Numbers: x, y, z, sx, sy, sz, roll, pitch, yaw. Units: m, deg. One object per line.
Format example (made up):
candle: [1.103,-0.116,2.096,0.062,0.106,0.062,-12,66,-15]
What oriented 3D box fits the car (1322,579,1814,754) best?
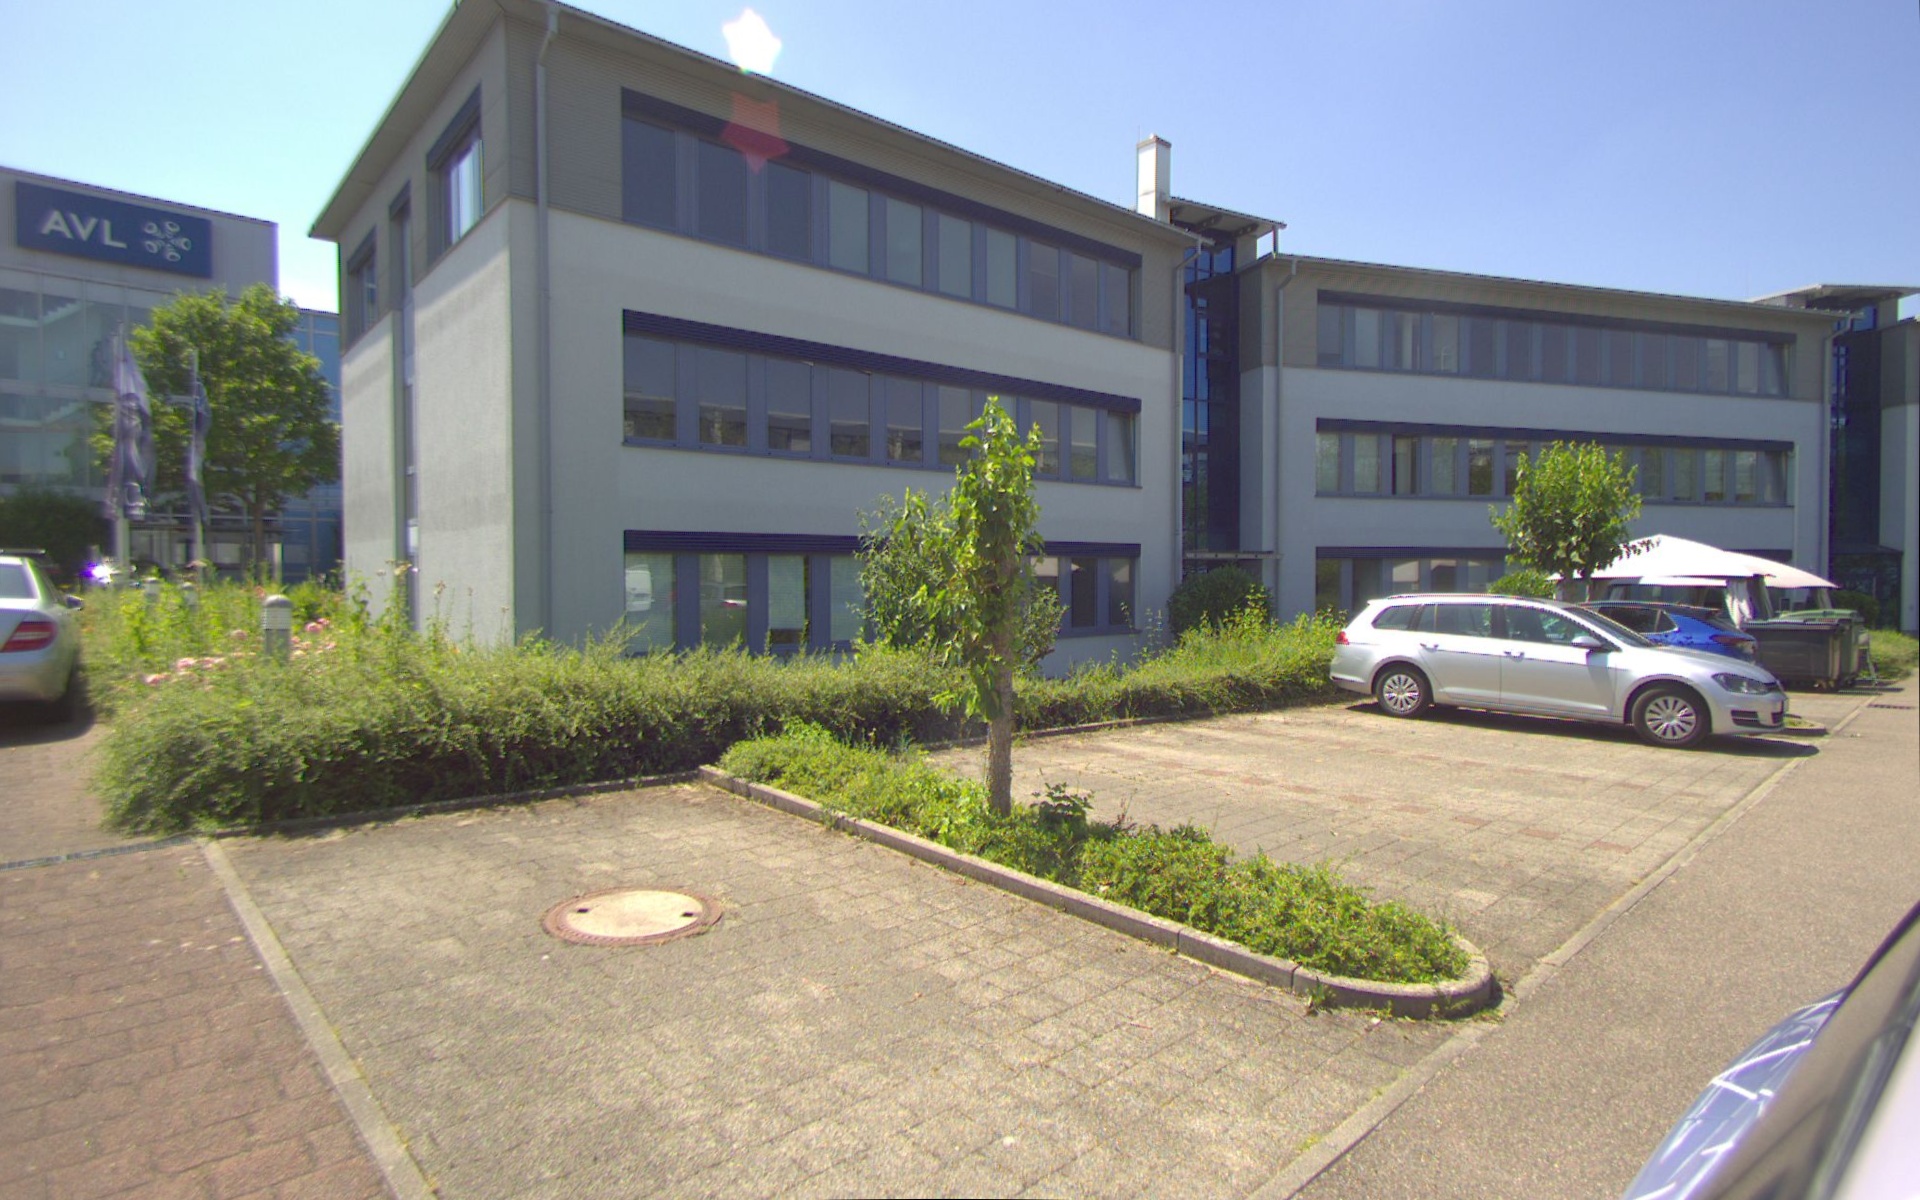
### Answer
car: [6.714,0.577,11.569,1.799,1.516,4.509,0,2,-44]

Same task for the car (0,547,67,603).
car: [-27.293,-0.718,29.516,1.721,1.538,3.990,0,1,-44]

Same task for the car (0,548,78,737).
car: [-8.943,0.300,8.907,1.700,1.454,3.709,0,1,-42]

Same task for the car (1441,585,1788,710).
car: [9.047,0.552,14.211,1.625,1.409,3.818,0,2,-44]

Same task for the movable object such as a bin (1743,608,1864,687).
movable object such as a bin: [13.923,0.753,16.722,0.979,1.204,1.363,0,1,-39]

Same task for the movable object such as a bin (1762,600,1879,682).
movable object such as a bin: [14.769,0.673,17.378,1.024,1.312,1.363,0,1,-39]

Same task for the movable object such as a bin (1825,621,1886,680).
movable object such as a bin: [15.687,0.868,17.728,0.709,0.961,0.690,0,1,-39]

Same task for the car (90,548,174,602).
car: [-25.480,-0.747,31.108,1.721,1.538,3.990,0,1,-44]
